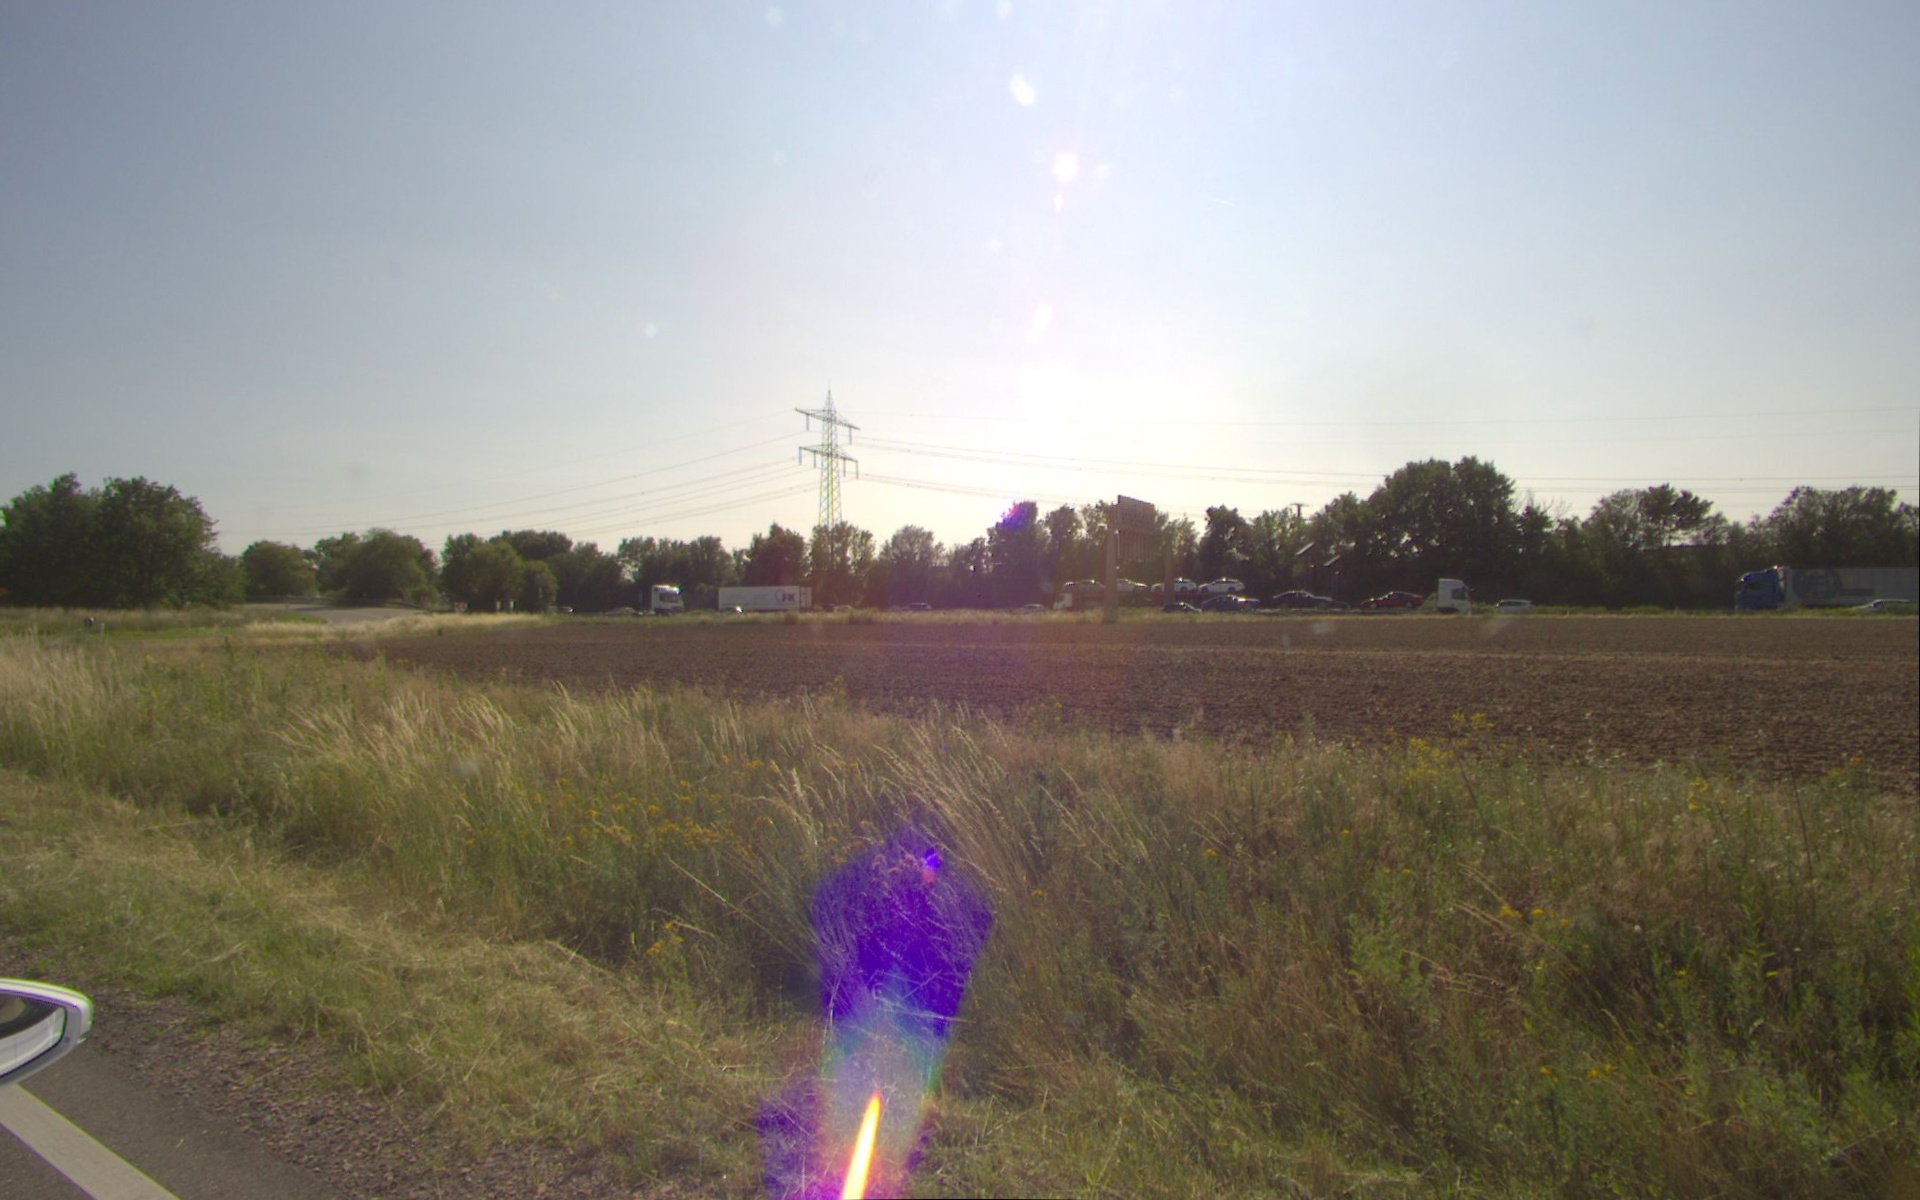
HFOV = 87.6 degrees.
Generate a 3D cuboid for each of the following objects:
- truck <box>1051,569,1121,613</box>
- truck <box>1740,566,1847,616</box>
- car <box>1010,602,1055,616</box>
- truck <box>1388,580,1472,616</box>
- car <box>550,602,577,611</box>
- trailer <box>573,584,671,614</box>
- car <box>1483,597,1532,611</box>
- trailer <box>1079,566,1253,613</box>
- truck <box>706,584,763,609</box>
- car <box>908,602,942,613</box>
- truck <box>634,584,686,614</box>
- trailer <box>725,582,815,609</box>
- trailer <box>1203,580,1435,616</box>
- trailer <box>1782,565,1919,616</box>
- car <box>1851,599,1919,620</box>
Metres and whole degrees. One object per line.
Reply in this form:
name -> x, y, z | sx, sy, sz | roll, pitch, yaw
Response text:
truck -> 13.479, -0.914, 107.081 | 6.602, 4.512, 3.417 | 0, 1, 28
truck -> 65.099, -0.635, 78.406 | 5.998, 3.783, 3.066 | 0, 0, 32
car -> 7.484, 0.916, 103.204 | 4.183, 1.403, 1.849 | 0, -1, 30
truck -> 34.542, -0.176, 73.644 | 5.450, 2.565, 2.509 | 0, 1, 29
car -> -54.266, 0.895, 136.993 | 3.525, 1.166, 1.394 | 0, -1, 28
trailer -> -38.913, -0.142, 114.988 | 12.832, 3.312, 2.510 | 0, 1, 28
car -> 44.853, 0.330, 82.047 | 3.528, 1.166, 1.393 | 0, -1, 31
trailer -> 20.986, -0.983, 103.024 | 17.292, 4.512, 3.417 | 0, 1, 28
truck -> -29.765, -0.459, 132.361 | 6.872, 3.311, 3.280 | 0, 1, 29
car -> -3.846, 0.835, 109.135 | 3.525, 1.166, 1.394 | 0, -1, 28
truck -> -33.563, -0.149, 112.102 | 5.273, 3.312, 2.510 | 0, 1, 28
trailer -> -24.636, -0.503, 129.488 | 12.266, 3.311, 3.280 | 0, 1, 29
trailer -> 27.462, -0.132, 77.579 | 16.823, 2.565, 2.509 | 0, 1, 29
trailer -> 70.540, -0.676, 75.040 | 13.431, 3.782, 3.066 | 0, 0, 32
car -> 65.047, 0.637, 70.204 | 3.548, 1.403, 1.490 | 0, -1, 30
